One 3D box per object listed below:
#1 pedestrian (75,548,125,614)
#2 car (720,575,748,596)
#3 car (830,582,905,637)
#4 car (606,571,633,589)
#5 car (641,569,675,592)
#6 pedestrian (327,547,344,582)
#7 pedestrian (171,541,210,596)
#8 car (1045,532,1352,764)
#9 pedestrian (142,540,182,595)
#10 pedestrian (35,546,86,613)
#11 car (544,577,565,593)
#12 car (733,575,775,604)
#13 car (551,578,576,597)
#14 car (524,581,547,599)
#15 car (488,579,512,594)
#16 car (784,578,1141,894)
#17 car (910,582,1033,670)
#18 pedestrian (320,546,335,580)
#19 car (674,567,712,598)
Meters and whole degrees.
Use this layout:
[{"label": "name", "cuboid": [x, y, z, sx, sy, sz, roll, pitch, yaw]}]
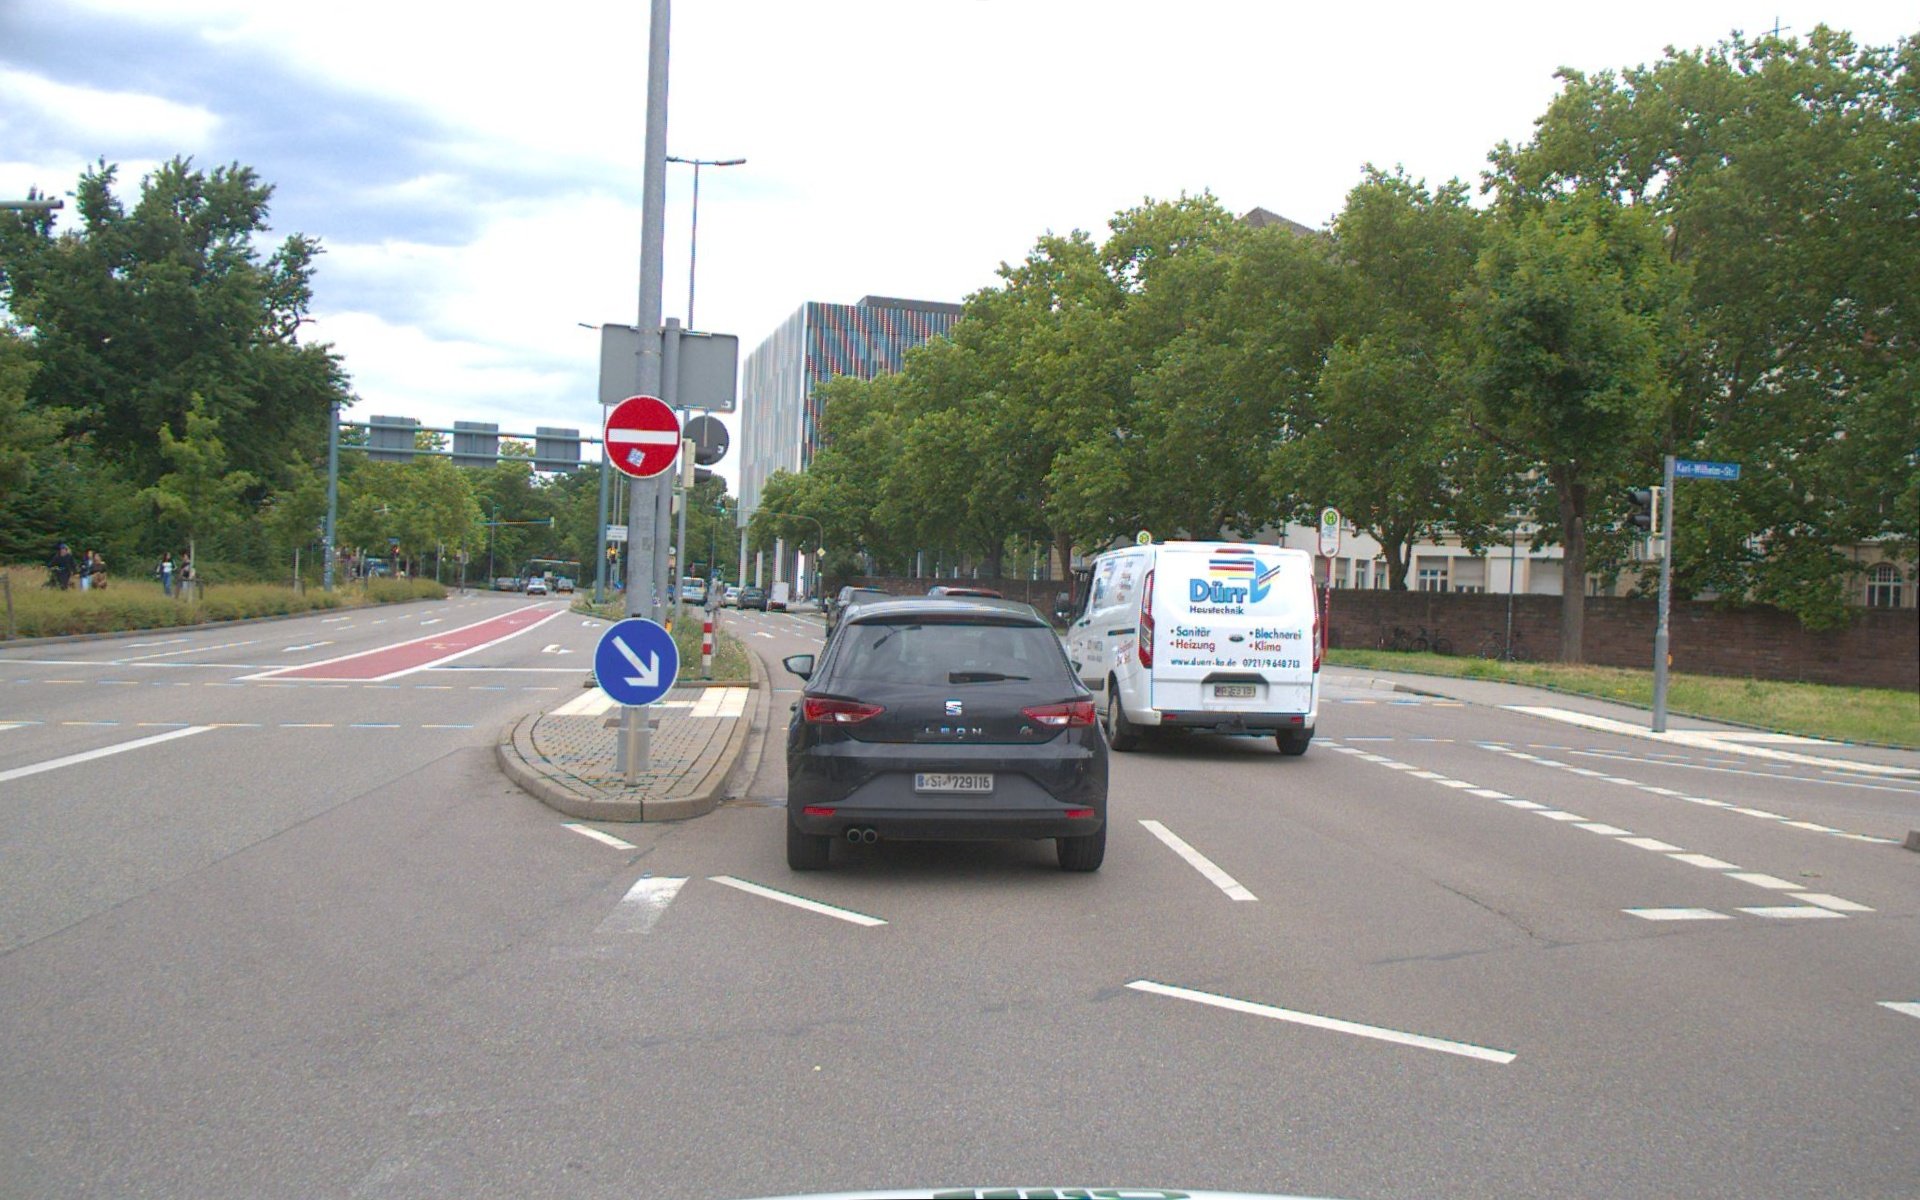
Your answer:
[{"label": "pedestrian", "cuboid": [-24.265, -0.542, 46.677, 0.901, 1.810, 1.062, 2, 0, -10]}, {"label": "car", "cuboid": [-15.607, -0.992, 114.350, 1.500, 1.389, 2.957, 2, 1, -16]}, {"label": "car", "cuboid": [-2.984, 0.277, 52.509, 1.956, 1.593, 4.197, 2, 1, -8]}, {"label": "car", "cuboid": [-27.046, -1.594, 131.354, 1.685, 1.287, 3.323, 2, 1, -18]}, {"label": "car", "cuboid": [-24.068, -1.556, 131.623, 1.964, 1.668, 3.977, 2, 1, -20]}, {"label": "pedestrian", "cuboid": [-36.607, -2.081, 96.976, 0.708, 2.049, 0.781, 2, 0, -5]}, {"label": "pedestrian", "cuboid": [-26.348, -1.083, 56.649, 0.901, 1.810, 1.062, 2, 0, -10]}, {"label": "car", "cuboid": [2.312, 0.410, 17.551, 1.955, 2.054, 5.025, 2, 1, -7]}, {"label": "pedestrian", "cuboid": [-27.252, -1.100, 56.481, 0.901, 1.810, 1.062, 2, 0, -10]}, {"label": "pedestrian", "cuboid": [-25.231, -0.582, 46.396, 0.901, 1.810, 1.062, 2, 0, -10]}, {"label": "car", "cuboid": [-48.715, -1.781, 198.744, 1.965, 1.811, 3.975, 2, 0, -21]}, {"label": "car", "cuboid": [-12.858, -0.675, 102.939, 1.887, 1.713, 3.981, 2, 1, -17]}, {"label": "car", "cuboid": [-41.459, -1.327, 172.721, 1.965, 1.811, 3.975, 2, 0, -21]}, {"label": "car", "cuboid": [-36.456, -0.833, 141.880, 1.660, 1.440, 3.625, 2, 0, -18]}, {"label": "car", "cuboid": [-47.650, -1.445, 171.423, 1.854, 1.440, 3.827, 2, 0, -24]}, {"label": "car", "cuboid": [-0.122, 0.701, 9.994, 1.711, 1.490, 3.996, -1, -1, -4]}, {"label": "car", "cuboid": [0.163, 0.492, 34.190, 1.824, 1.628, 4.196, 2, 1, -10]}, {"label": "pedestrian", "cuboid": [-38.677, -2.284, 101.111, 0.654, 2.049, 0.595, 2, 0, -5]}, {"label": "car", "cuboid": [-18.163, -1.201, 112.512, 1.962, 2.048, 3.981, 2, 1, -17]}]
